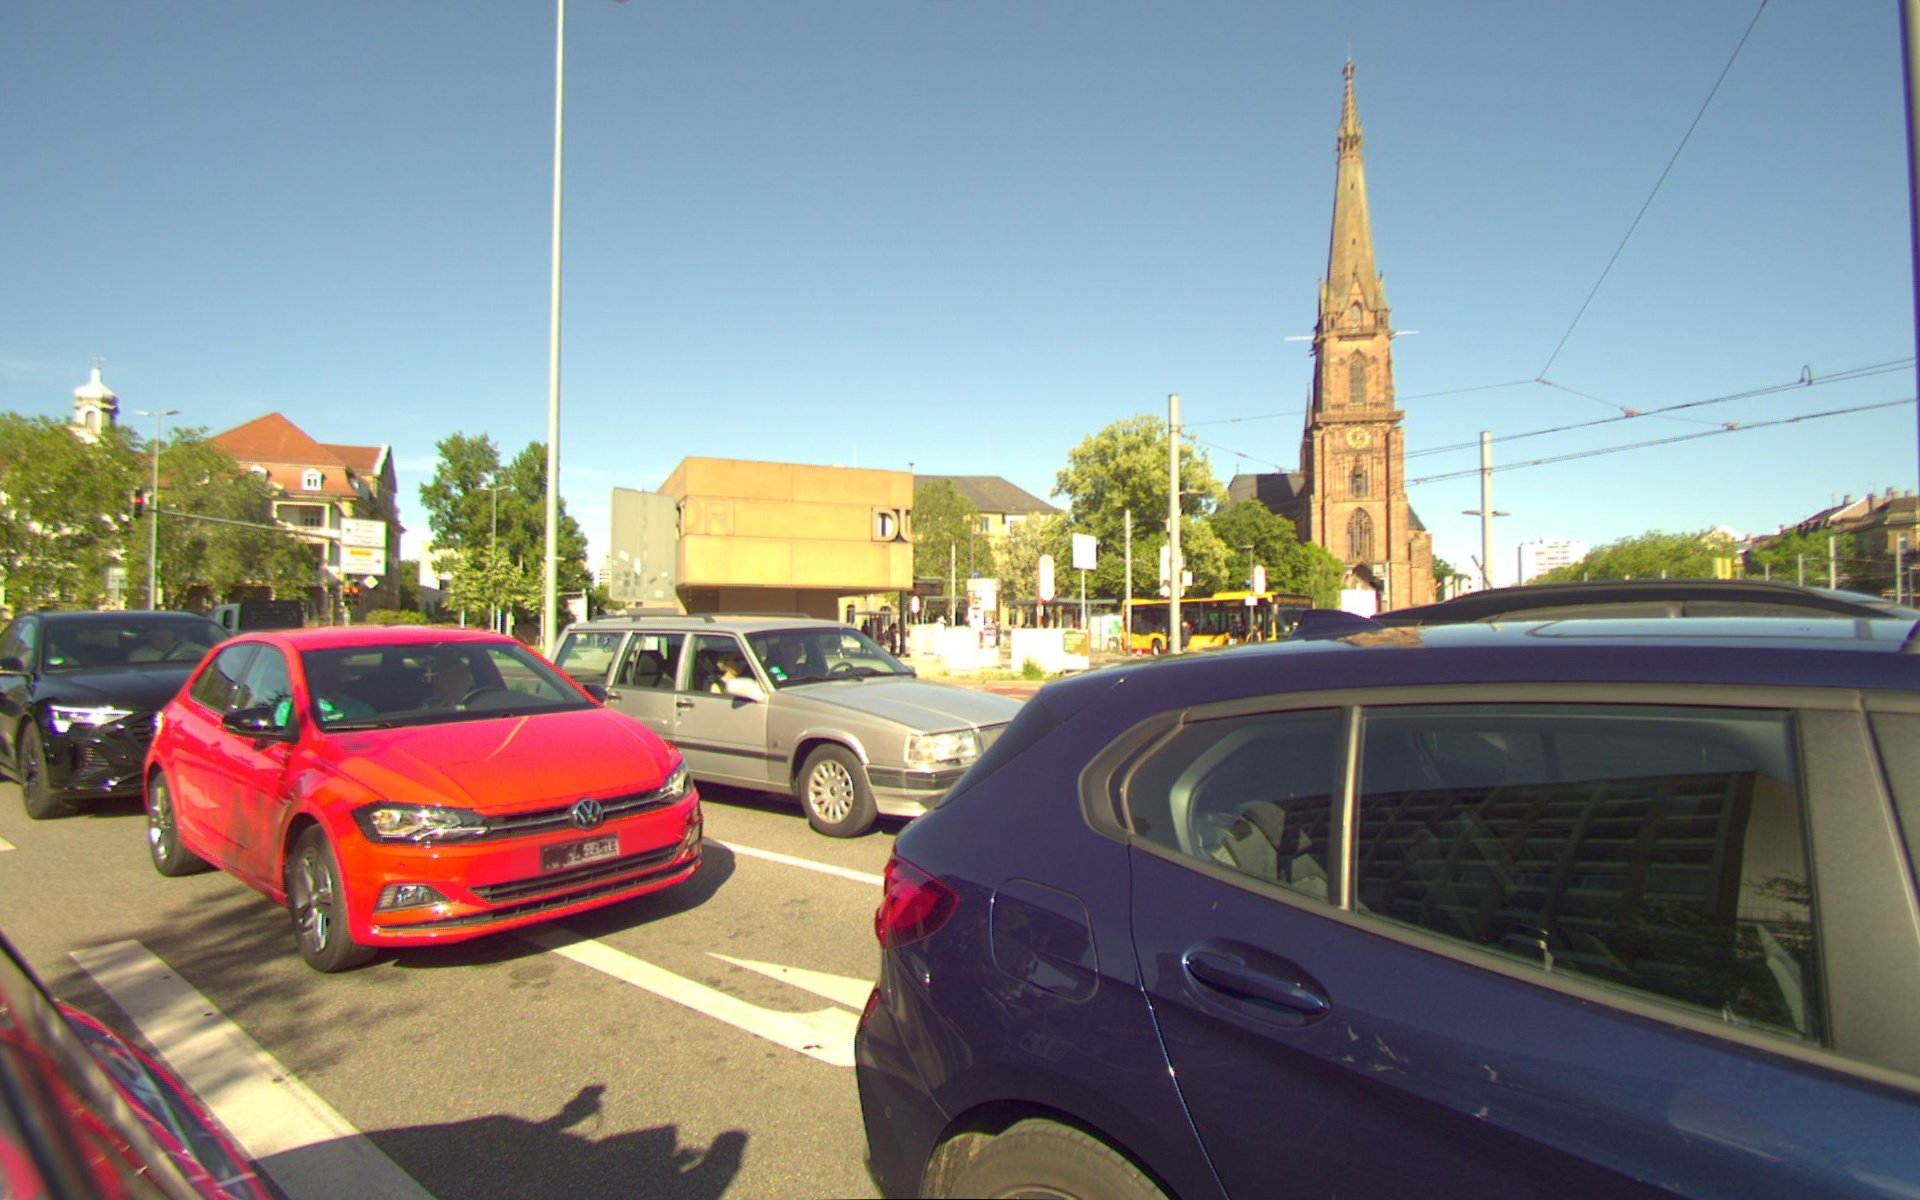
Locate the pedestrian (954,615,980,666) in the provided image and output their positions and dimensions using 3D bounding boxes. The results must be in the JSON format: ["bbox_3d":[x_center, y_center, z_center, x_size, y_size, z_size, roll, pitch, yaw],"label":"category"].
[{"bbox_3d":[0.252,1.448,36.328,0.636,1.802,0.668,0,-1,-45],"label":"pedestrian"}]

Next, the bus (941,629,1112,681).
[{"bbox_3d":[1.663,1.373,25.946,4.174,1.251,1.627,-1,-2,35],"label":"bus"}]

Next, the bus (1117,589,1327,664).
[{"bbox_3d":[11.872,1.320,47.919,2.715,3.088,12.201,1,-2,-23],"label":"bus"}]

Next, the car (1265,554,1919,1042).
[{"bbox_3d":[3.468,0.629,3.939,4.010,1.529,1.738,-2,-2,44],"label":"car"}]

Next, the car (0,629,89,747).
[{"bbox_3d":[-13.434,1.158,13.737,3.704,1.429,1.557,-2,0,35],"label":"car"}]

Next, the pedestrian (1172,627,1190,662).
[{"bbox_3d":[9.882,1.984,45.296,0.561,1.525,0.529,-1,-1,-16],"label":"pedestrian"}]

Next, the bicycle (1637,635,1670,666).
[{"bbox_3d":[26.940,1.952,39.322,1.232,1.182,0.471,1,-2,-26],"label":"bicycle"}]

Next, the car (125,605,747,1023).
[{"bbox_3d":[-3.038,0.812,5.508,3.850,1.484,1.653,-2,-1,40],"label":"car"}]

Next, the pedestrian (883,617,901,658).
[{"bbox_3d":[-3.033,1.659,45.052,0.468,1.789,0.638,-2,-2,36],"label":"pedestrian"}]

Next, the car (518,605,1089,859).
[{"bbox_3d":[-1.465,0.827,8.049,4.744,1.484,1.693,-1,-2,37],"label":"car"}]

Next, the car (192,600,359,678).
[{"bbox_3d":[-22.344,1.248,32.953,6.191,2.331,2.095,-1,-2,31],"label":"car"}]

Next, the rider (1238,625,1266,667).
[{"bbox_3d":[10.420,1.647,36.072,0.856,1.475,0.664,-1,-2,25],"label":"rider"}]

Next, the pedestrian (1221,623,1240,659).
[{"bbox_3d":[11.657,1.759,43.639,0.552,1.525,0.529,-1,-1,-33],"label":"pedestrian"}]

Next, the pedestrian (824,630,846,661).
[{"bbox_3d":[-5.315,1.919,42.992,0.635,1.320,0.764,1,-2,-40],"label":"pedestrian"}]

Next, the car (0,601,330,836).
[{"bbox_3d":[-7.613,0.891,9.134,4.447,1.628,1.836,-2,-2,38],"label":"car"}]

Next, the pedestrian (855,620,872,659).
[{"bbox_3d":[-4.420,1.793,46.202,0.468,1.789,0.638,-2,-2,36],"label":"pedestrian"}]

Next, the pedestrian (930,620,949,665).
[{"bbox_3d":[-0.832,1.707,40.780,0.634,1.789,0.470,1,-2,-29],"label":"pedestrian"}]

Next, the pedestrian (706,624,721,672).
[{"bbox_3d":[-9.374,1.812,38.466,0.460,1.789,0.648,0,-2,-21],"label":"pedestrian"}]

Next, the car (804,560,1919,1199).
[{"bbox_3d":[1.771,0.681,1.206,4.030,1.456,1.692,-1,-1,42],"label":"car"}]

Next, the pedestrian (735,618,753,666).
[{"bbox_3d":[-8.112,1.580,38.005,0.635,1.789,0.618,0,-2,-8],"label":"pedestrian"}]

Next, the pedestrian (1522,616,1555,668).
[{"bbox_3d":[21.190,1.537,37.073,0.882,1.869,0.679,-2,-3,41],"label":"pedestrian"}]
